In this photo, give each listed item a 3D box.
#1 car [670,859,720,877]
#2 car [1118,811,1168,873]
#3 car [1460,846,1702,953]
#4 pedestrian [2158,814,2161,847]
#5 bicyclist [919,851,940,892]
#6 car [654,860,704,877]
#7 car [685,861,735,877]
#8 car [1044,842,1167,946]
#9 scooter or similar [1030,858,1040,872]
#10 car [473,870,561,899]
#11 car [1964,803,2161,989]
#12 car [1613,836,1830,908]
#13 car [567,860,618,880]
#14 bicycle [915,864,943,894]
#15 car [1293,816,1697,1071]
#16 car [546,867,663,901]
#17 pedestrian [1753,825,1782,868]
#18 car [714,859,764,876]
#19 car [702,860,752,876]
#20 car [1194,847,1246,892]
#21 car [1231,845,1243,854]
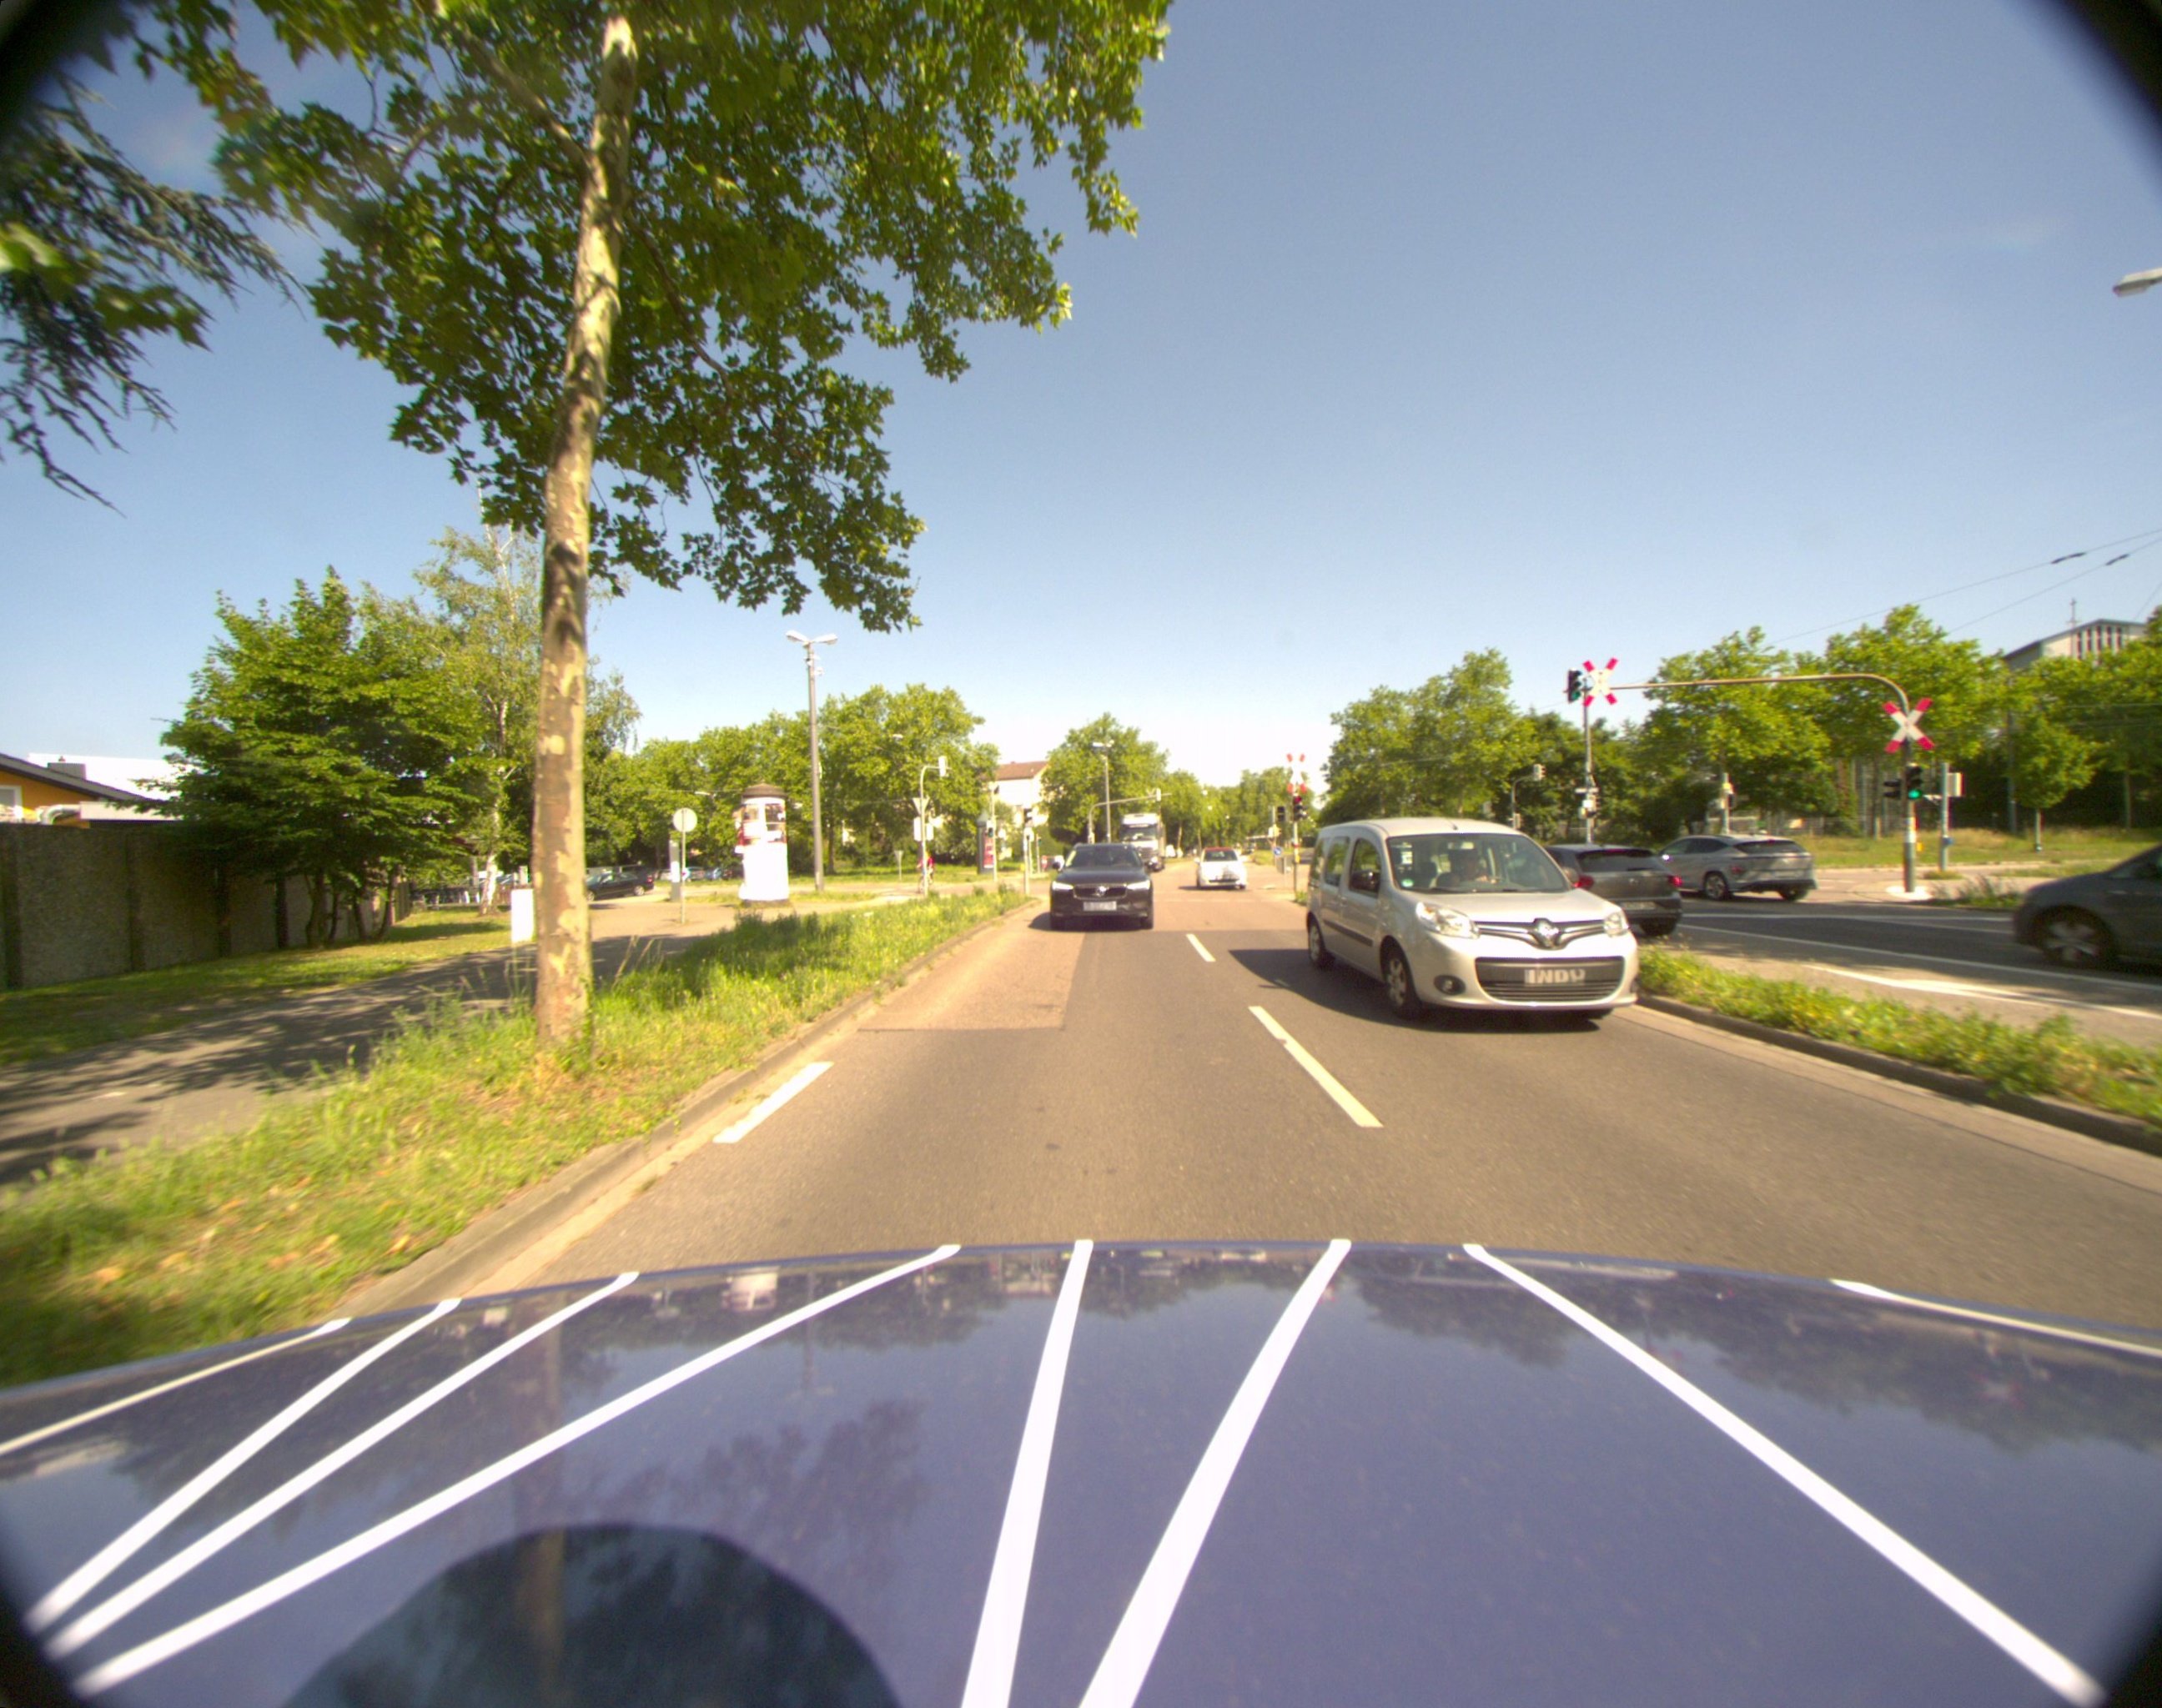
[{"bbox_3d":[-40.249,1.461,79.359,1.996,1.623,4.361,-3,0,22],"label":"car"},{"bbox_3d":[4.372,-0.796,52.348,2.901,3.898,7.145,-1,0,9],"label":"car"},{"bbox_3d":[8.181,0.641,12.950,1.697,1.499,4.131,-2,0,5],"label":"car"},{"bbox_3d":[68.210,-1.504,47.520,0.618,2.079,0.755,-2,1,2],"label":"pedestrian"},{"bbox_3d":[-6.605,0.756,33.196,0.702,1.776,0.810,-2,1,1],"label":"bicyclist"},{"bbox_3d":[-42.614,1.510,80.603,1.995,1.623,4.361,-2,0,22],"label":"car"},{"bbox_3d":[-38.162,1.484,78.166,1.995,1.482,4.361,-2,0,22],"label":"car"},{"bbox_3d":[0.488,0.632,14.416,1.904,1.605,4.873,-1,0,2],"label":"car"},{"bbox_3d":[-4.036,0.953,66.664,0.517,1.135,1.444,-4,2,-17],"label":"scooter or similar"},{"bbox_3d":[-35.242,1.878,47.603,2.140,1.490,4.207,-3,0,4],"label":"car"},{"bbox_3d":[11.452,0.407,6.634,1.690,1.828,4.994,-1,0,0],"label":"car"},{"bbox_3d":[15.664,0.388,18.957,1.713,1.580,4.433,0,0,1],"label":"car"},{"bbox_3d":[-57.581,1.836,89.647,1.995,2.196,4.596,-2,0,22],"label":"car"},{"bbox_3d":[-6.610,1.069,33.165,0.693,1.178,2.125,-2,0,1],"label":"bicycle"},{"bbox_3d":[3.578,0.626,7.656,1.876,1.829,4.376,-1,1,3],"label":"car"},{"bbox_3d":[-26.353,1.621,42.251,2.137,1.490,5.126,-1,2,25],"label":"car"},{"bbox_3d":[25.105,-0.279,27.793,0.366,1.552,0.668,-2,1,-23],"label":"pedestrian"},{"bbox_3d":[-33.847,1.307,75.348,1.995,1.482,4.361,-2,1,22],"label":"car"},{"bbox_3d":[-35.698,1.371,76.830,1.995,1.482,4.361,-2,0,22],"label":"car"},{"bbox_3d":[5.099,0.520,28.297,1.688,1.482,4.378,-2,0,8],"label":"car"},{"bbox_3d":[36.985,-1.135,180.343,1.995,2.002,4.006,-2,0,23],"label":"car"}]
